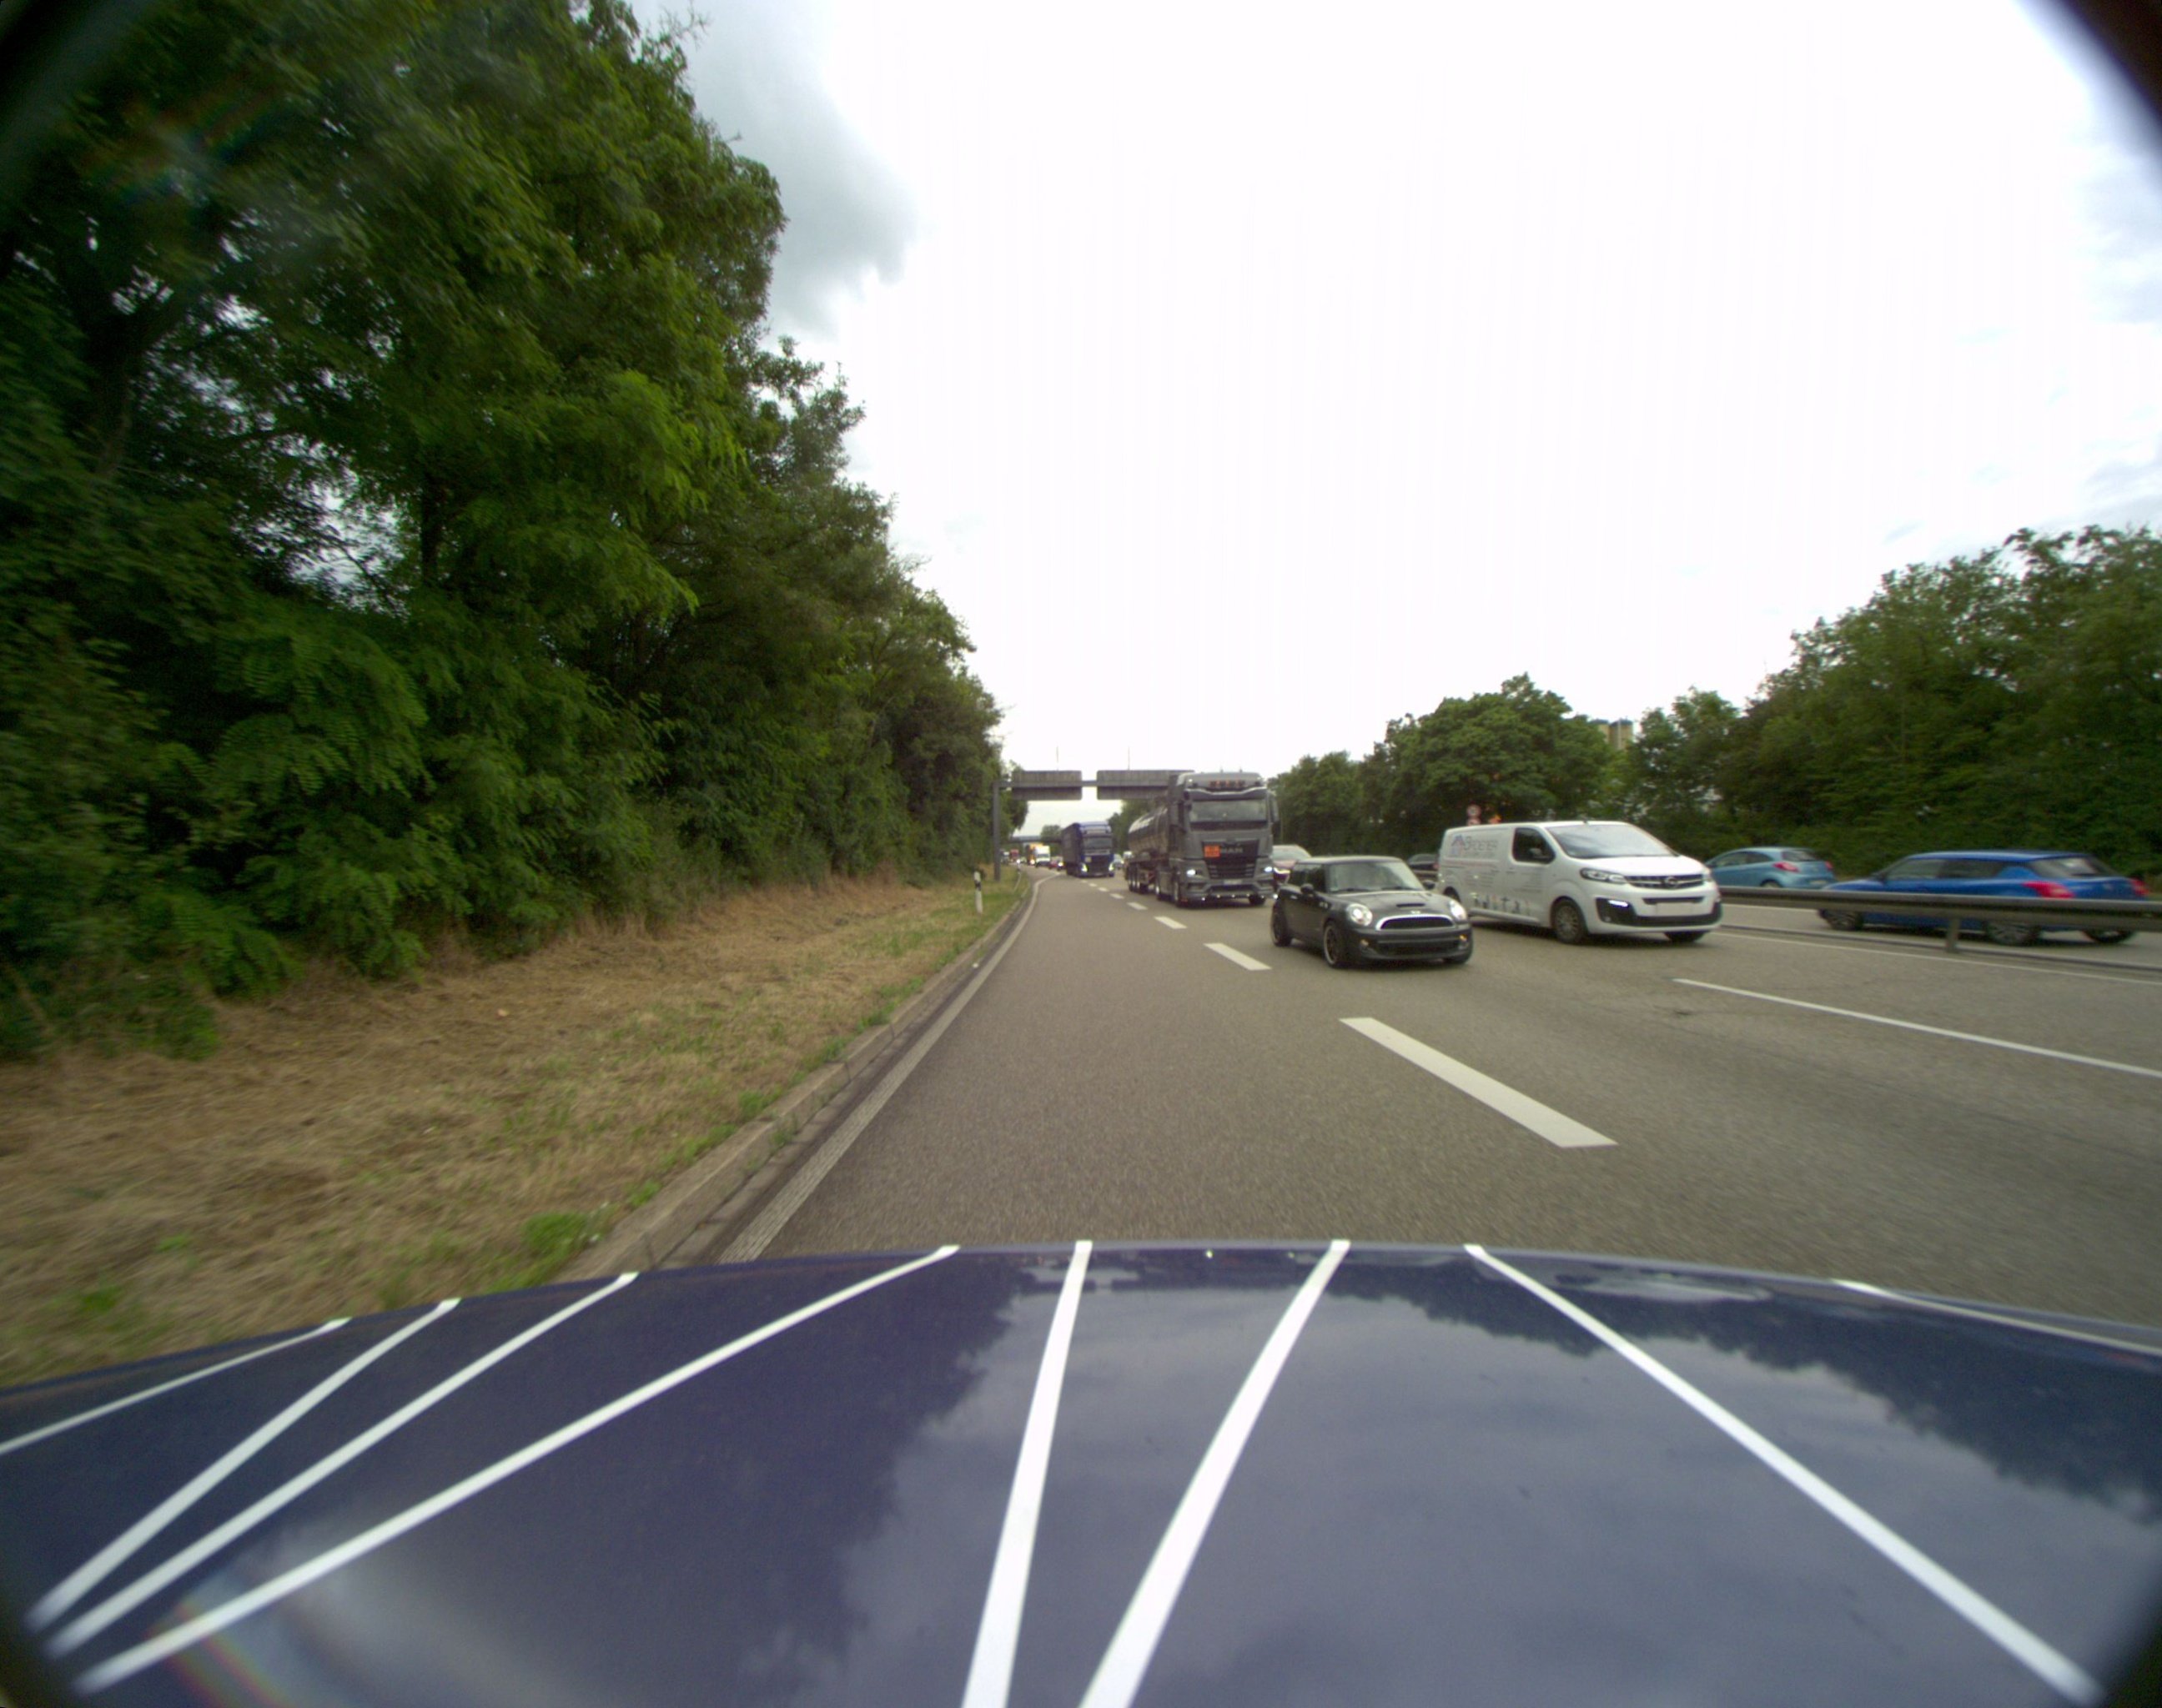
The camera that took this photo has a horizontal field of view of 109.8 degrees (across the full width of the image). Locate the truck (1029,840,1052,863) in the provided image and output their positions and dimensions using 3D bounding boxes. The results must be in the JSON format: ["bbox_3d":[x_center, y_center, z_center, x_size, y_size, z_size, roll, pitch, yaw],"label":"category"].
[{"bbox_3d":[-7.680,-0.554,144.018,3.367,4.041,10.176,-3,1,-7],"label":"truck"}]

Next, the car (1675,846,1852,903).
[{"bbox_3d":[19.705,0.548,22.155,1.597,1.493,3.701,-1,0,-7],"label":"car"}]

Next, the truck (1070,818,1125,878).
[{"bbox_3d":[1.076,-0.416,55.333,2.962,3.946,7.467,-2,0,-5],"label":"truck"}]

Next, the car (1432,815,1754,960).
[{"bbox_3d":[7.885,0.438,12.442,1.856,1.880,4.876,-1,0,-2],"label":"car"}]

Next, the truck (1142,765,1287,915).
[{"bbox_3d":[3.810,-0.373,23.449,2.691,3.884,6.932,-1,0,-5],"label":"truck"}]

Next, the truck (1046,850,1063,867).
[{"bbox_3d":[-3.322,0.547,95.127,1.894,2.002,6.088,-1,0,-3],"label":"truck"}]

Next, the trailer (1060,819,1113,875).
[{"bbox_3d":[0.226,-0.558,62.024,2.846,4.013,13.078,-3,1,-6],"label":"trailer"}]

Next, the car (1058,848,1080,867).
[{"bbox_3d":[-1.295,0.358,80.972,1.752,2.002,3.997,-1,0,-8],"label":"car"}]

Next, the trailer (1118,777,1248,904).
[{"bbox_3d":[3.439,-0.427,29.064,2.691,3.884,10.982,-1,0,-4],"label":"trailer"}]

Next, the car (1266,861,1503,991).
[{"bbox_3d":[3.955,0.846,10.607,1.752,1.413,3.663,-2,0,-1],"label":"car"}]

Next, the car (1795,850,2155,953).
[{"bbox_3d":[15.016,0.704,13.152,1.596,1.493,3.925,-1,0,-1],"label":"car"}]

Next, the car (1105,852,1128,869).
[{"bbox_3d":[3.621,0.621,77.885,1.849,1.641,3.998,-1,0,-4],"label":"car"}]

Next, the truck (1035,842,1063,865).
[{"bbox_3d":[-4.947,-0.088,114.659,3.367,3.099,7.234,-3,1,-8],"label":"truck"}]

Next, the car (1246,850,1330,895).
[{"bbox_3d":[7.565,0.627,28.189,1.681,1.489,4.467,-1,0,-3],"label":"car"}]
